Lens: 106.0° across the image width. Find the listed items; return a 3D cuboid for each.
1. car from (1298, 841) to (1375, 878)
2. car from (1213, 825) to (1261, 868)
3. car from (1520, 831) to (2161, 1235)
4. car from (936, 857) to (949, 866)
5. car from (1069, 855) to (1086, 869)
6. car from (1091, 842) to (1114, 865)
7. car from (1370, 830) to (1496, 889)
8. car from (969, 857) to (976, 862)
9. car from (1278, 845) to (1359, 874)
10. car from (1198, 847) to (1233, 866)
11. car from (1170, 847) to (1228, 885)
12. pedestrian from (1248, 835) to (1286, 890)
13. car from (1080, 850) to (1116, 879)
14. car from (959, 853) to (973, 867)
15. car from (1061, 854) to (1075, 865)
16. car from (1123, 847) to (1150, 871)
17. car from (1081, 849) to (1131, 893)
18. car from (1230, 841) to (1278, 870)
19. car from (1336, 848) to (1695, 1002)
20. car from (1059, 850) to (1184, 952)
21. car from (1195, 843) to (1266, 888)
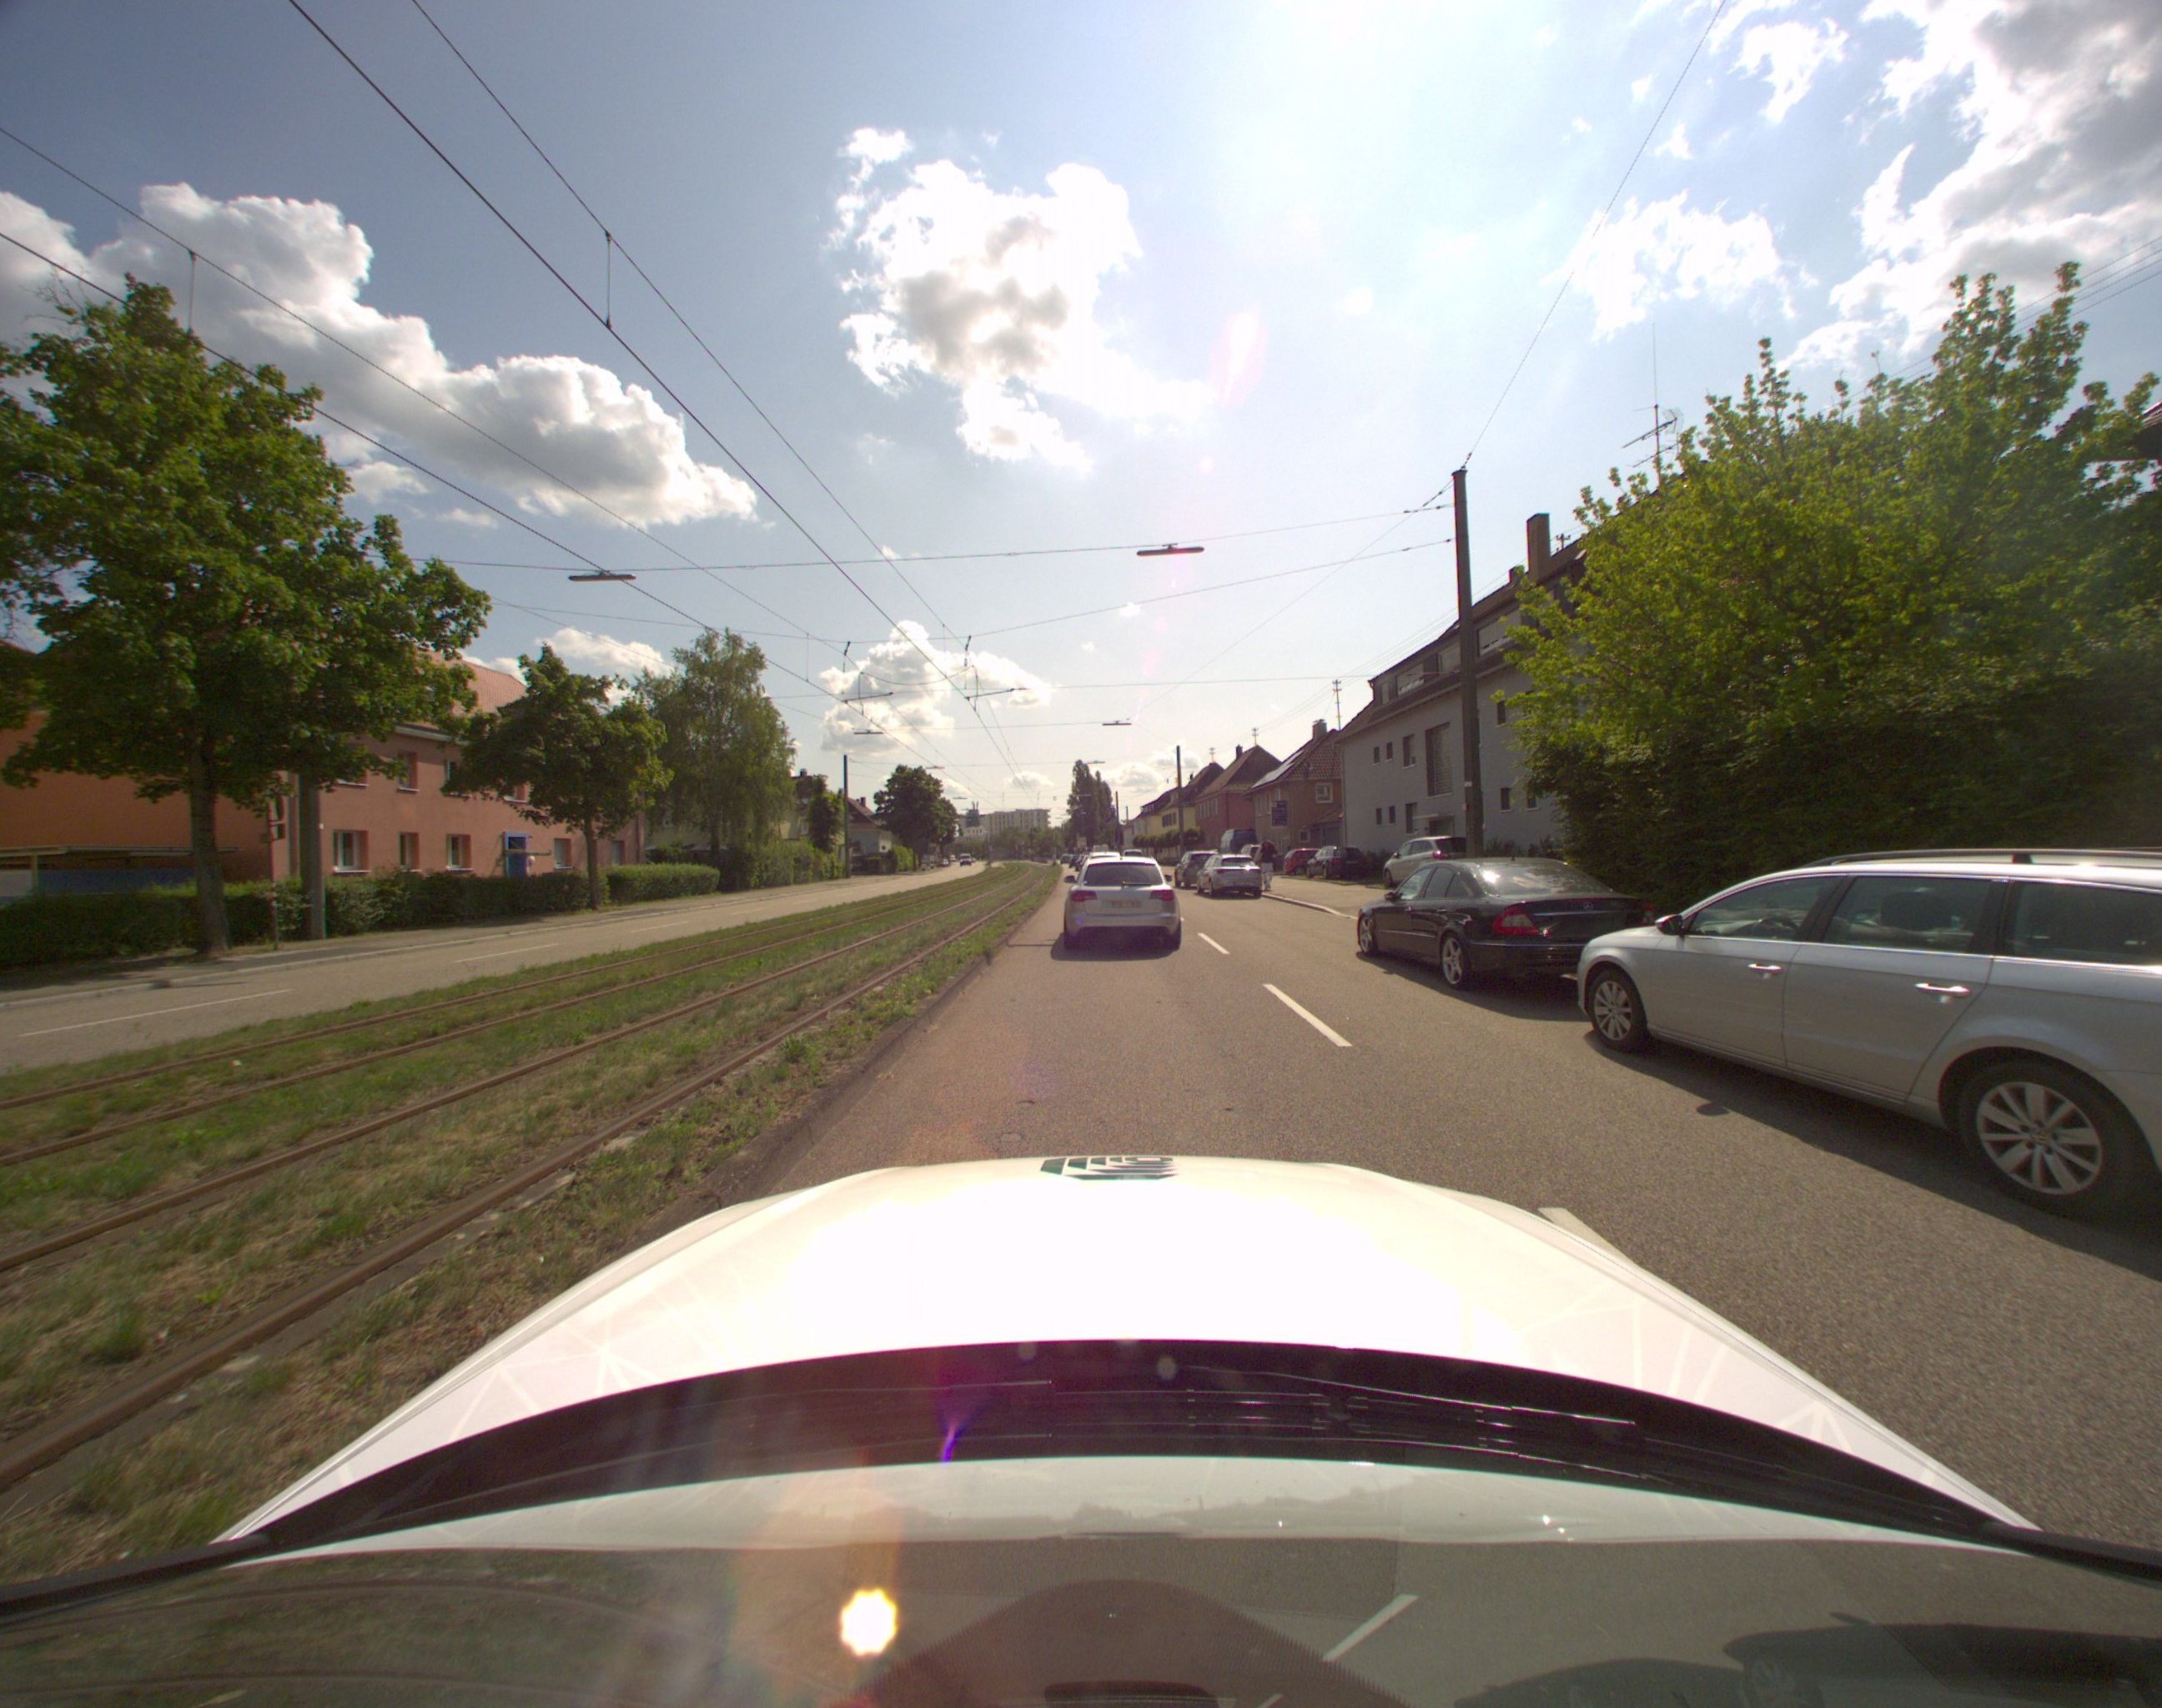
[{"bbox_3d":[11.234,0.234,36.191,1.793,1.423,4.856,-3,0,-1],"label":"car"},{"bbox_3d":[11.105,-0.498,58.474,2.145,2.930,6.242,0,-1,-1],"label":"car"},{"bbox_3d":[4.847,0.655,4.784,1.883,1.455,5.006,0,-1,0],"label":"car"},{"bbox_3d":[-25.397,1.415,149.378,1.783,1.584,3.924,-2,0,-4],"label":"car"},{"bbox_3d":[-0.360,0.866,88.699,1.879,1.530,4.094,0,-1,0],"label":"car"},{"bbox_3d":[2.512,-0.059,98.710,2.039,2.557,5.219,-1,0,-6],"label":"car"},{"bbox_3d":[11.169,0.167,26.227,1.753,1.647,4.764,-3,0,-3],"label":"car"},{"bbox_3d":[-30.148,1.556,226.605,1.896,1.541,3.716,0,-1,-10],"label":"car"},{"bbox_3d":[12.197,0.286,41.995,3.640,1.380,1.725,-1,-1,-3],"label":"car"},{"bbox_3d":[10.741,0.231,65.356,1.646,1.409,4.342,-2,0,-5],"label":"car"},{"bbox_3d":[5.100,0.511,35.709,1.802,1.559,4.250,0,-1,-2],"label":"car"},{"bbox_3d":[6.943,0.315,30.463,1.108,1.946,1.091,-2,-1,0],"label":"pedestrian"},{"bbox_3d":[0.949,0.559,46.001,1.878,1.466,4.095,-2,0,1],"label":"car"},{"bbox_3d":[-21.455,1.129,151.806,2.196,2.372,5.315,-3,0,-10],"label":"car"},{"bbox_3d":[-1.929,0.779,119.079,1.879,1.530,4.094,0,-1,0],"label":"car"},{"bbox_3d":[4.176,0.368,61.257,1.877,1.731,4.098,-2,0,3],"label":"car"},{"bbox_3d":[0.916,0.622,31.977,1.781,1.577,4.093,0,0,0],"label":"car"},{"bbox_3d":[11.009,0.076,52.220,1.831,1.711,4.861,-3,0,-1],"label":"car"},{"bbox_3d":[4.899,0.652,10.222,1.893,1.443,5.059,0,0,1],"label":"car"},{"bbox_3d":[0.684,0.702,14.397,1.847,1.492,4.538,-1,0,2],"label":"car"},{"bbox_3d":[5.178,0.388,28.720,1.808,1.454,4.645,0,-1,2],"label":"car"}]
